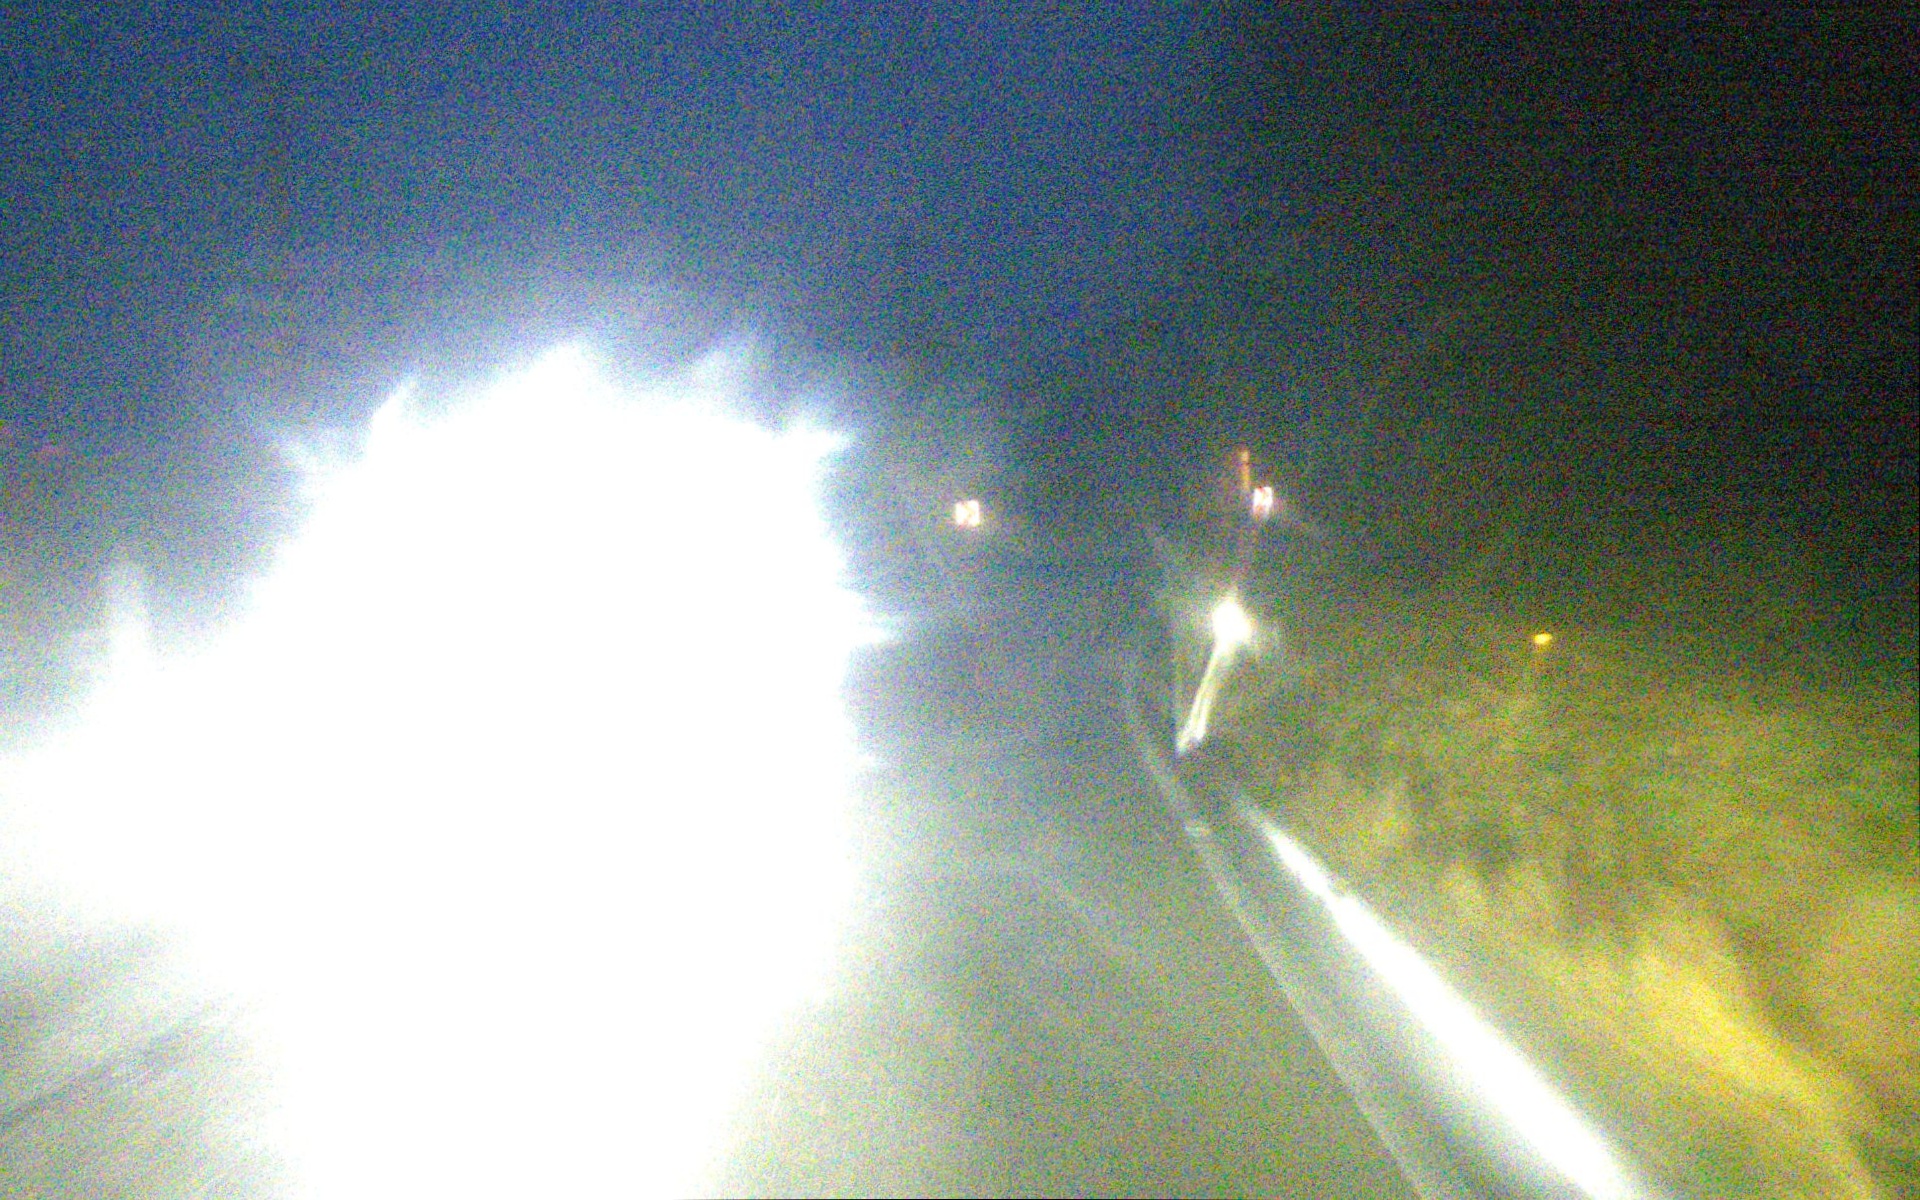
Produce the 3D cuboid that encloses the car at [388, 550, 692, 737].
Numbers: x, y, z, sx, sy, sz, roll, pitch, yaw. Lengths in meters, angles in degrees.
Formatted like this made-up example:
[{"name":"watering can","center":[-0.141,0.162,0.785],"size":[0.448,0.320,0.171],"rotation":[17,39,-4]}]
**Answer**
[{"name":"car","center":[-3.374,0.312,28.322],"size":[1.993,1.406,4.000],"rotation":[1,1,0]}]
